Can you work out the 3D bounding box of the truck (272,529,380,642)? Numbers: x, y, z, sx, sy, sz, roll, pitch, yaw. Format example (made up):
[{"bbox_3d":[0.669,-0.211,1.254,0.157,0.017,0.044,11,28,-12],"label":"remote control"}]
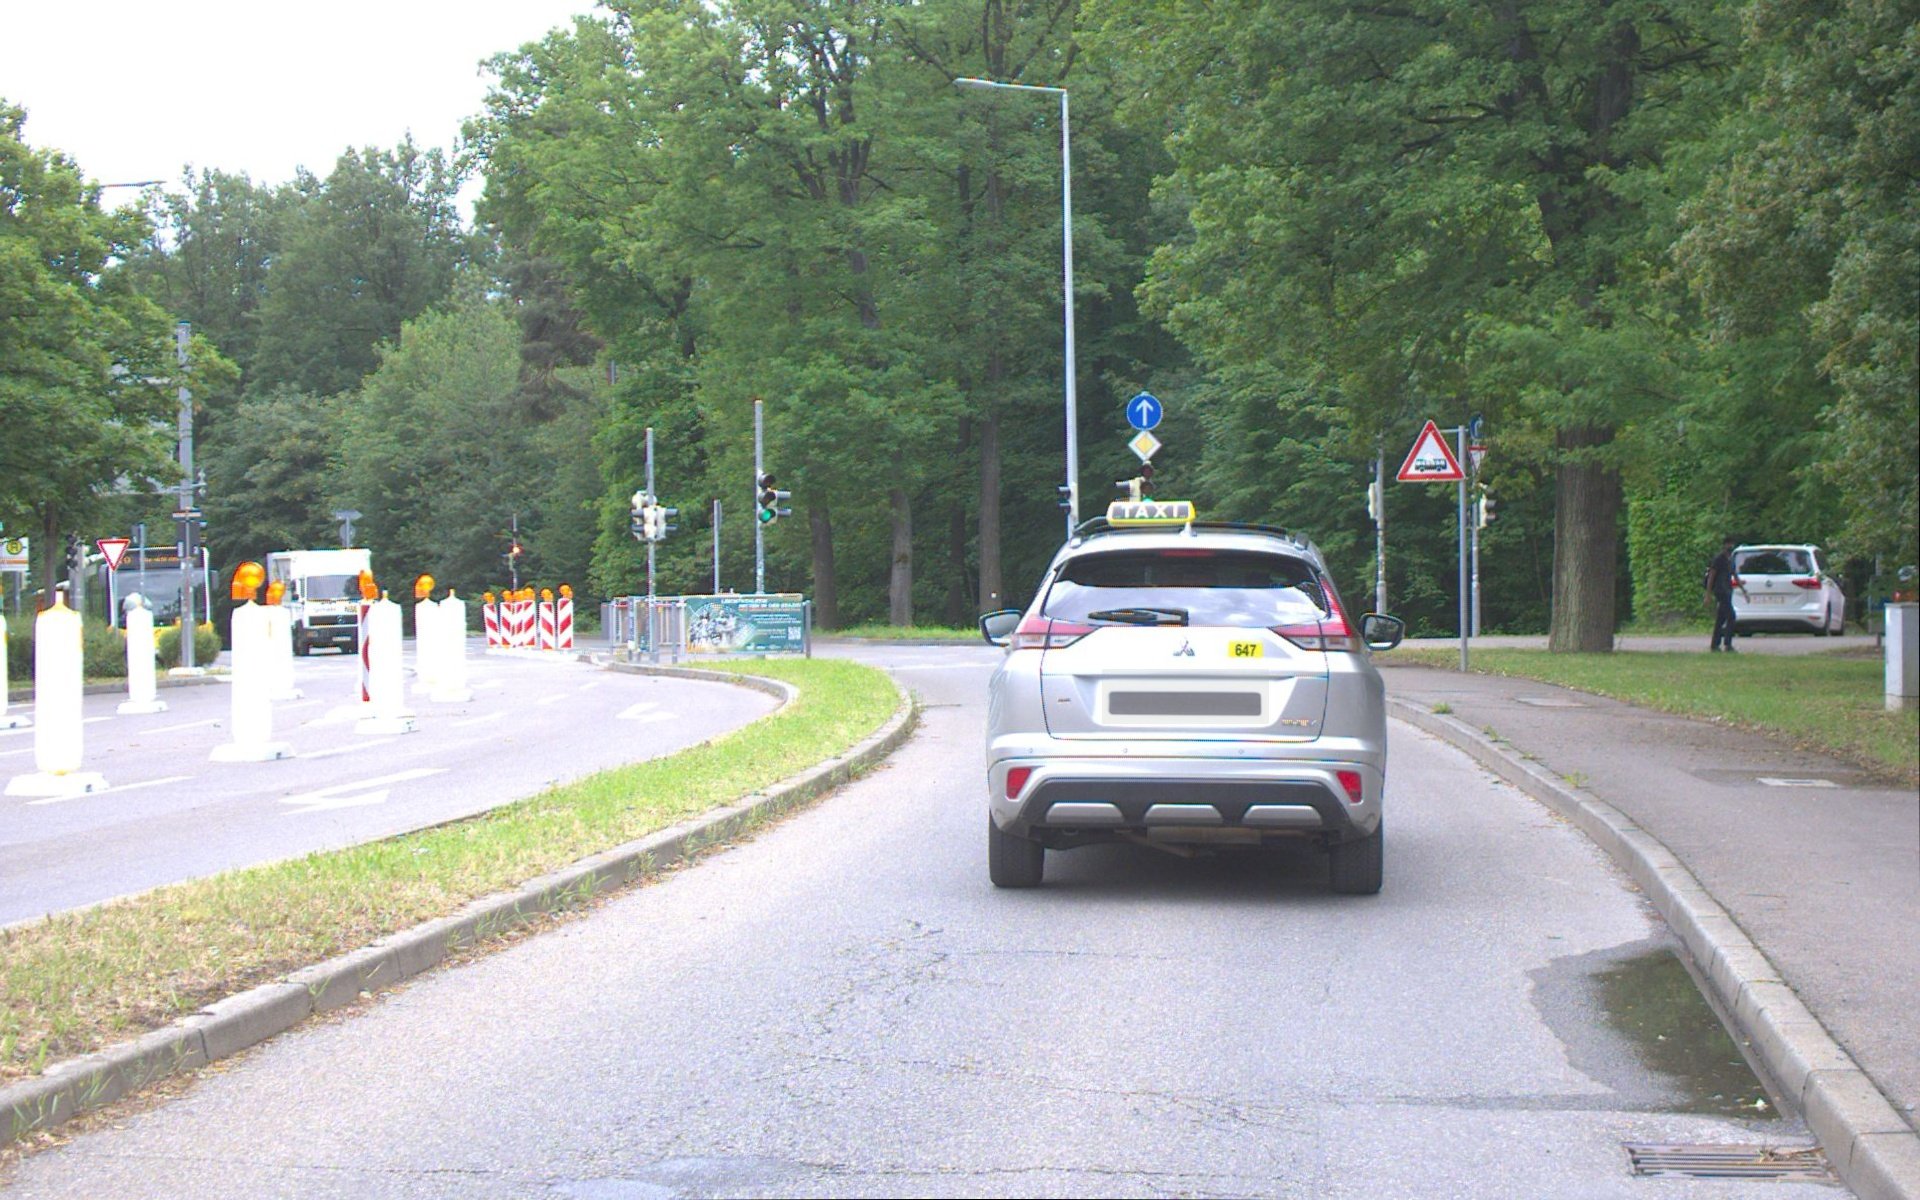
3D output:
[{"bbox_3d":[-19.355,-0.435,104.685,2.483,3.275,8.522,-1,0,-15],"label":"truck"}]

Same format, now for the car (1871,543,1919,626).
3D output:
[{"bbox_3d":[16.181,-0.277,56.777,1.836,1.321,3.996,0,1,20],"label":"car"}]

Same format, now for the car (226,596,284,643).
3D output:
[{"bbox_3d":[-23.924,0.652,116.588,1.555,1.523,3.827,-1,1,-17],"label":"car"}]

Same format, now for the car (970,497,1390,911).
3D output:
[{"bbox_3d":[1.161,0.449,16.465,1.774,1.742,3.779,0,0,7],"label":"car"}]

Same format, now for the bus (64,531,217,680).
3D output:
[{"bbox_3d":[-21.569,0.056,89.967,2.821,3.591,12.807,-1,1,-18],"label":"bus"}]

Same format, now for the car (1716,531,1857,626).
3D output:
[{"bbox_3d":[13.852,-0.377,57.481,1.836,1.531,3.996,0,1,20],"label":"car"}]

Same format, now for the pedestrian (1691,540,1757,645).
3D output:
[{"bbox_3d":[11.130,-0.112,50.081,0.841,1.501,0.790,0,1,19],"label":"pedestrian"}]
